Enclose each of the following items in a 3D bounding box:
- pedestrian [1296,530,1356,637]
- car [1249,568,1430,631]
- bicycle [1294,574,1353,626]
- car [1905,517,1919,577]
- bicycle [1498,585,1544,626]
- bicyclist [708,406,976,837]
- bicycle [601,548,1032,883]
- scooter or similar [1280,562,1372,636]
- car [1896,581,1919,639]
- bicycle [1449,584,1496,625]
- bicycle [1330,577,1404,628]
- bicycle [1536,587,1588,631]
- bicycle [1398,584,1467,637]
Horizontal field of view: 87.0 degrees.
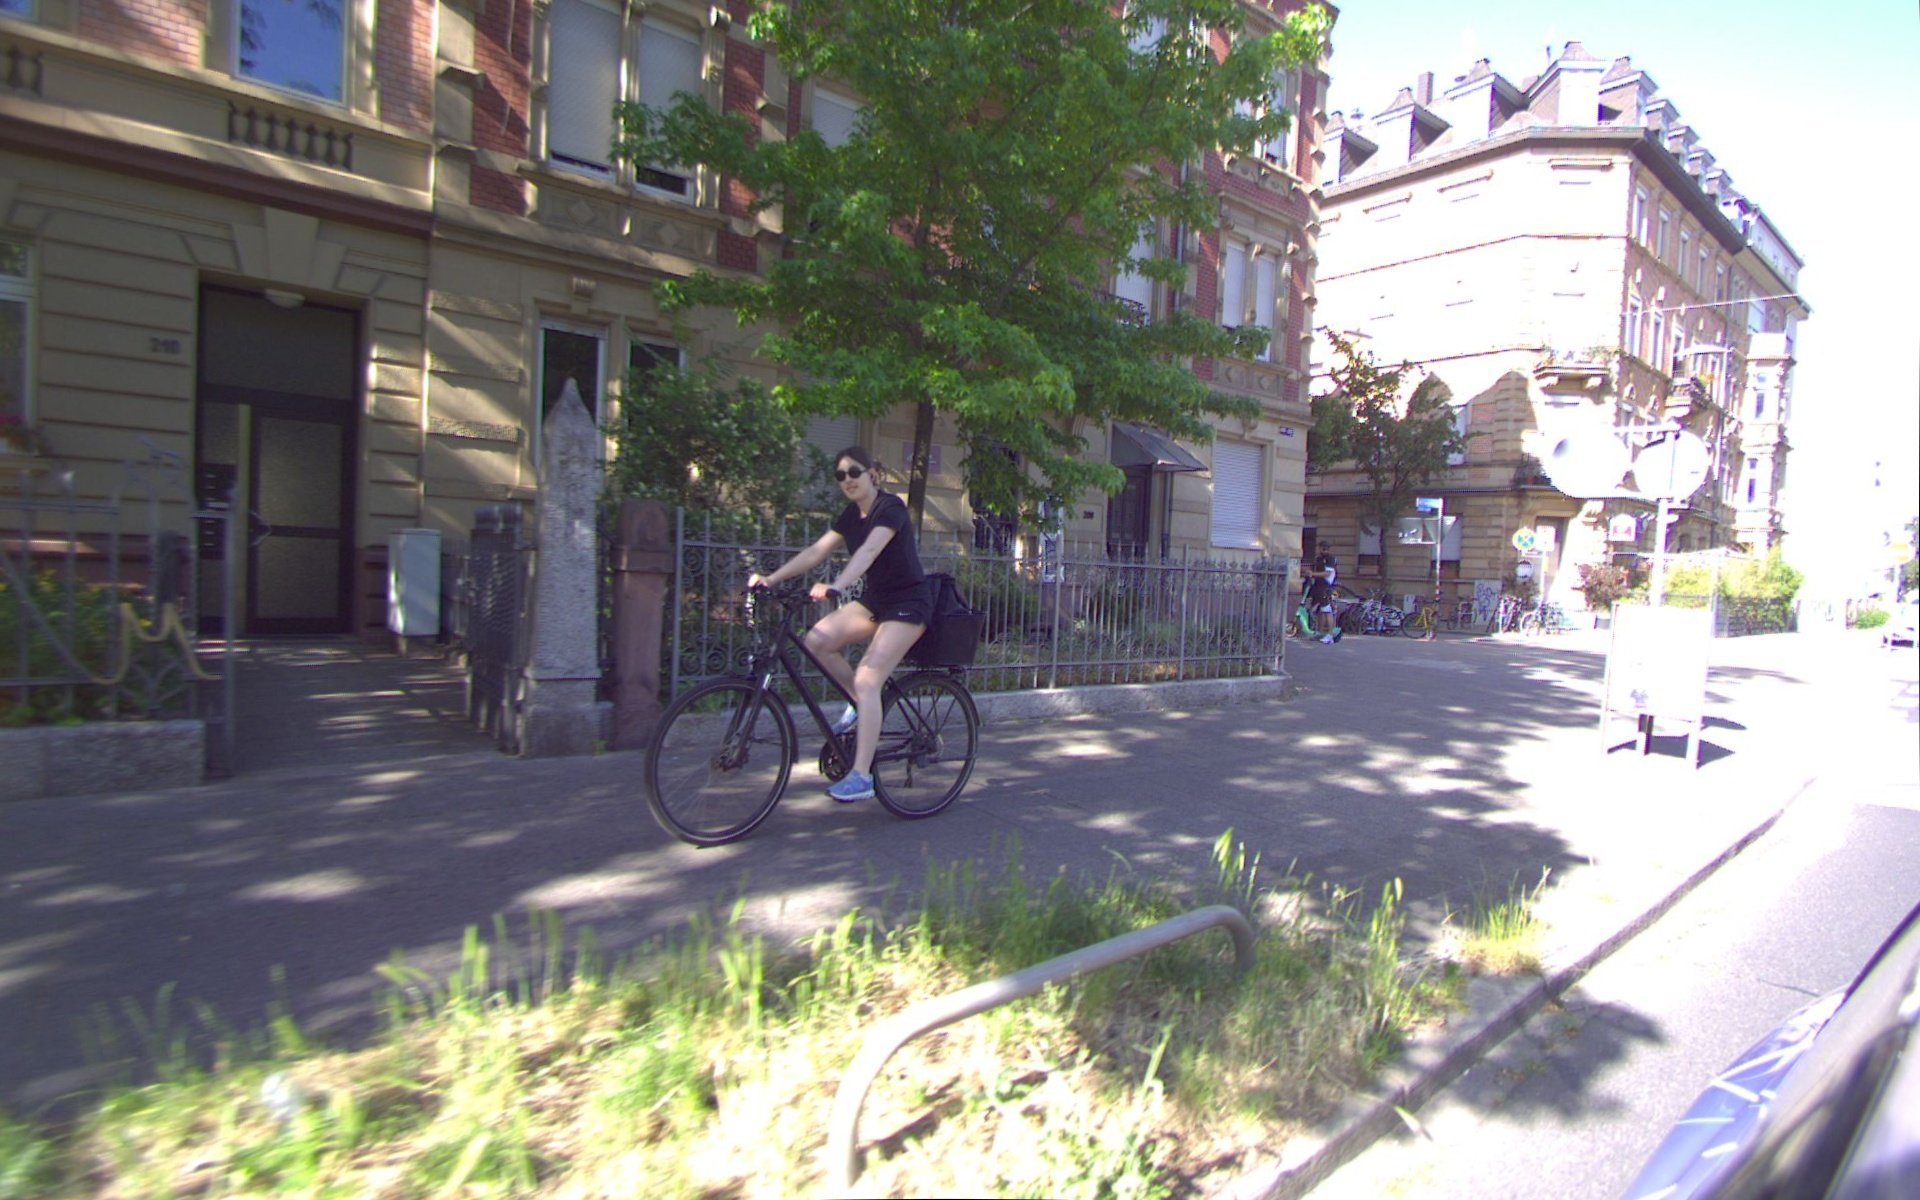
[{"bbox_3d":[6.790,-0.311,18.774,0.764,1.916,0.683,4,2,41],"label":"pedestrian"},{"bbox_3d":[10.767,-0.061,29.021,2.009,1.434,4.422,1,4,-36],"label":"car"},{"bbox_3d":[9.241,0.018,25.660,0.632,1.200,1.988,5,1,42],"label":"bicycle"},{"bbox_3d":[26.859,-1.321,27.101,4.035,1.457,1.846,1,5,-42],"label":"car"},{"bbox_3d":[16.591,0.149,29.914,1.986,1.148,0.584,-1,5,-44],"label":"bicycle"},{"bbox_3d":[-0.529,0.063,4.543,0.874,1.715,0.647,1,5,-43],"label":"bicyclist"},{"bbox_3d":[-0.574,0.420,4.556,1.812,1.190,0.654,0,6,-43],"label":"bicycle"},{"bbox_3d":[6.791,-0.019,18.797,1.380,1.278,0.763,1,4,-22],"label":"scooter or similar"},{"bbox_3d":[33.133,0.381,34.288,3.500,1.896,1.692,1,3,-42],"label":"car"},{"bbox_3d":[15.649,0.116,30.860,1.985,1.148,0.584,-2,5,-43],"label":"bicycle"},{"bbox_3d":[9.917,0.071,24.617,1.980,1.148,0.585,2,2,-34],"label":"bicycle"},{"bbox_3d":[17.253,0.249,28.995,1.985,1.148,0.734,-2,4,-43],"label":"bicycle"},{"bbox_3d":[11.101,0.227,23.853,0.574,1.148,2.019,4,1,0],"label":"bicycle"}]
